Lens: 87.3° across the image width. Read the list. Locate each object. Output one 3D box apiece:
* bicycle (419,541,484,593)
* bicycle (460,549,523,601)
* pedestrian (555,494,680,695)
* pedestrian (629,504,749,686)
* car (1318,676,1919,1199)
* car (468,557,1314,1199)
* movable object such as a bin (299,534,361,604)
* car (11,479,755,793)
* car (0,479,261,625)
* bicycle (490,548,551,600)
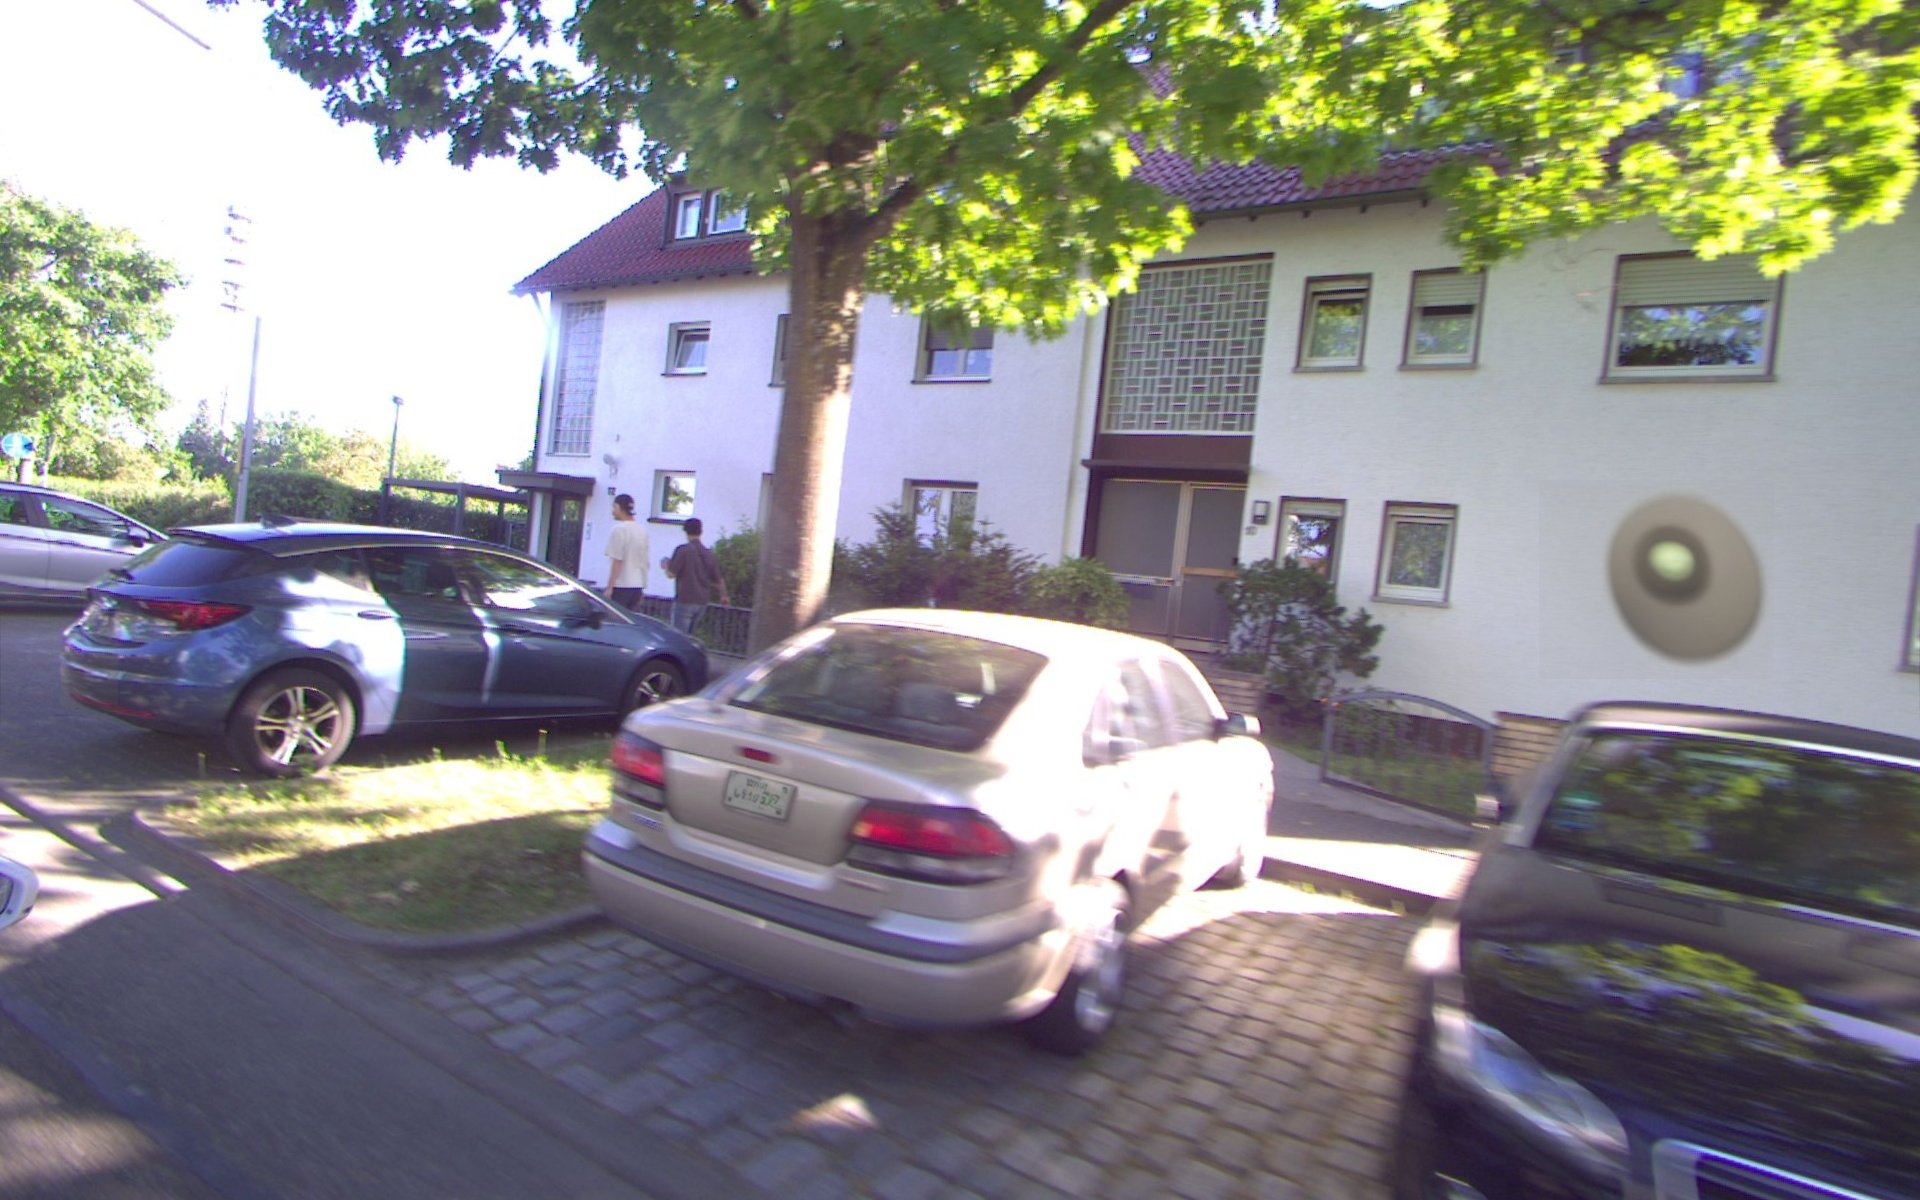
[{"bbox_3d":[-11.365,-0.725,22.534,0.522,1.068,1.673,6,1,0],"label":"bicycle"},{"bbox_3d":[-10.472,-0.540,22.535,0.522,1.068,1.673,6,1,0],"label":"bicycle"},{"bbox_3d":[-3.410,-0.058,10.014,0.909,1.897,0.608,6,1,35],"label":"pedestrian"},{"bbox_3d":[-2.899,-0.041,10.783,0.699,1.851,0.835,6,1,34],"label":"pedestrian"},{"bbox_3d":[2.694,1.089,3.413,1.843,1.380,4.348,6,0,32],"label":"car"},{"bbox_3d":[0.254,0.767,4.734,1.766,1.432,4.281,7,1,30],"label":"car"},{"bbox_3d":[-10.380,-0.511,16.580,0.688,1.058,0.535,7,1,31],"label":"movable object such as a bin"},{"bbox_3d":[-3.721,0.254,7.319,1.767,1.522,4.279,7,1,33],"label":"car"},{"bbox_3d":[-11.097,-0.636,11.733,1.767,1.510,4.430,7,1,33],"label":"car"},{"bbox_3d":[-9.859,-0.573,22.615,0.522,1.068,1.673,6,1,0],"label":"bicycle"}]
